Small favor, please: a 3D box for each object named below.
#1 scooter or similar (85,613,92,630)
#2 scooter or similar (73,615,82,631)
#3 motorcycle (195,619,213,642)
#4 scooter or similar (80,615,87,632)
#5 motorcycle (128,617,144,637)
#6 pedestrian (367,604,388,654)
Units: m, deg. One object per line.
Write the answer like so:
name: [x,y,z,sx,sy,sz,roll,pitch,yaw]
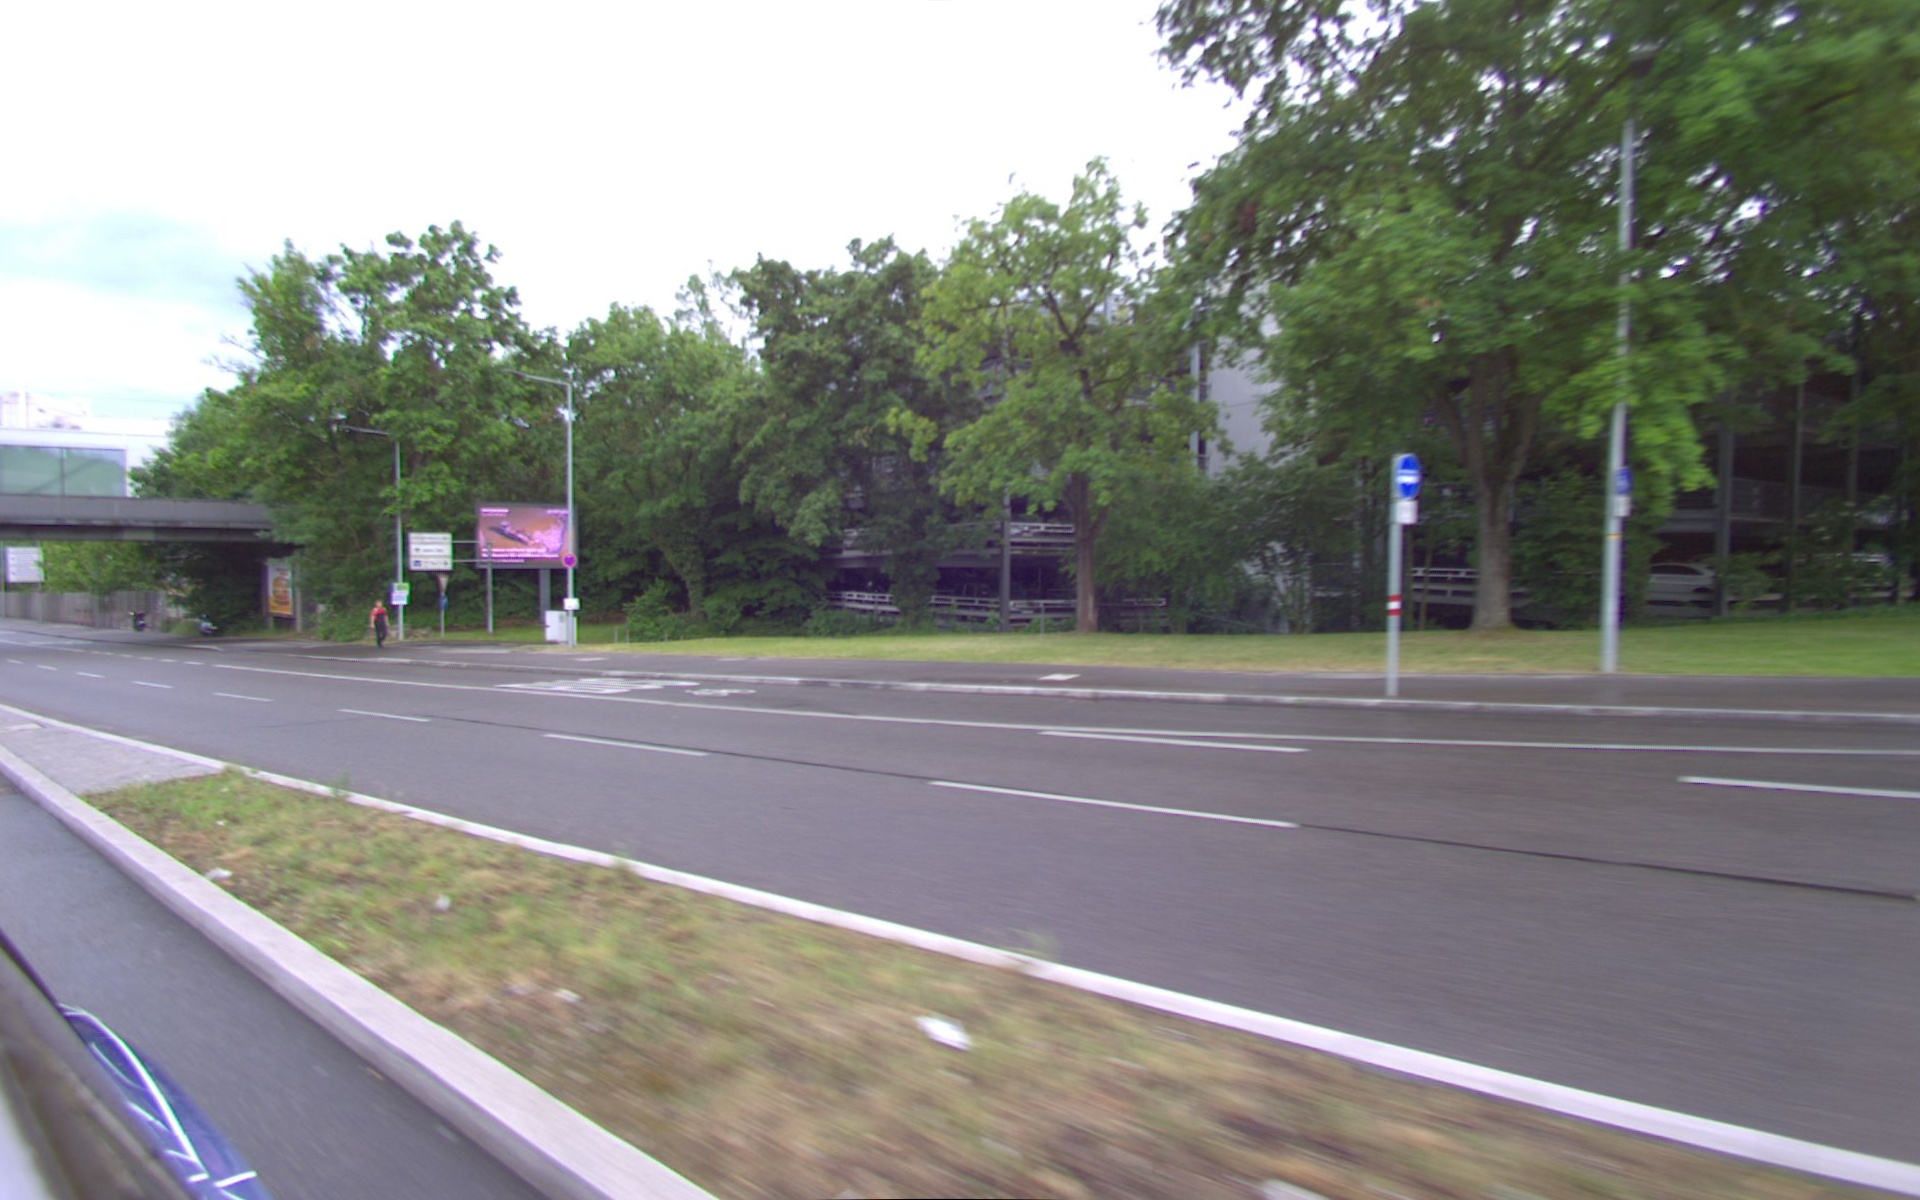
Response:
scooter or similar: [-64.597,1.603,75.049,0.308,1.227,1.309,-1,0,-44]
scooter or similar: [-68.290,1.763,78.297,1.307,1.227,0.308,0,0,41]
motorcycle: [-40.009,1.603,53.530,1.933,1.167,0.463,-1,0,44]
scooter or similar: [-66.413,1.759,76.645,0.307,1.227,1.310,-1,0,-37]
motorcycle: [-52.589,1.729,64.588,1.995,1.214,0.464,-1,0,41]
pedestrian: [-21.537,1.056,37.403,0.513,1.829,0.801,-2,1,-39]
